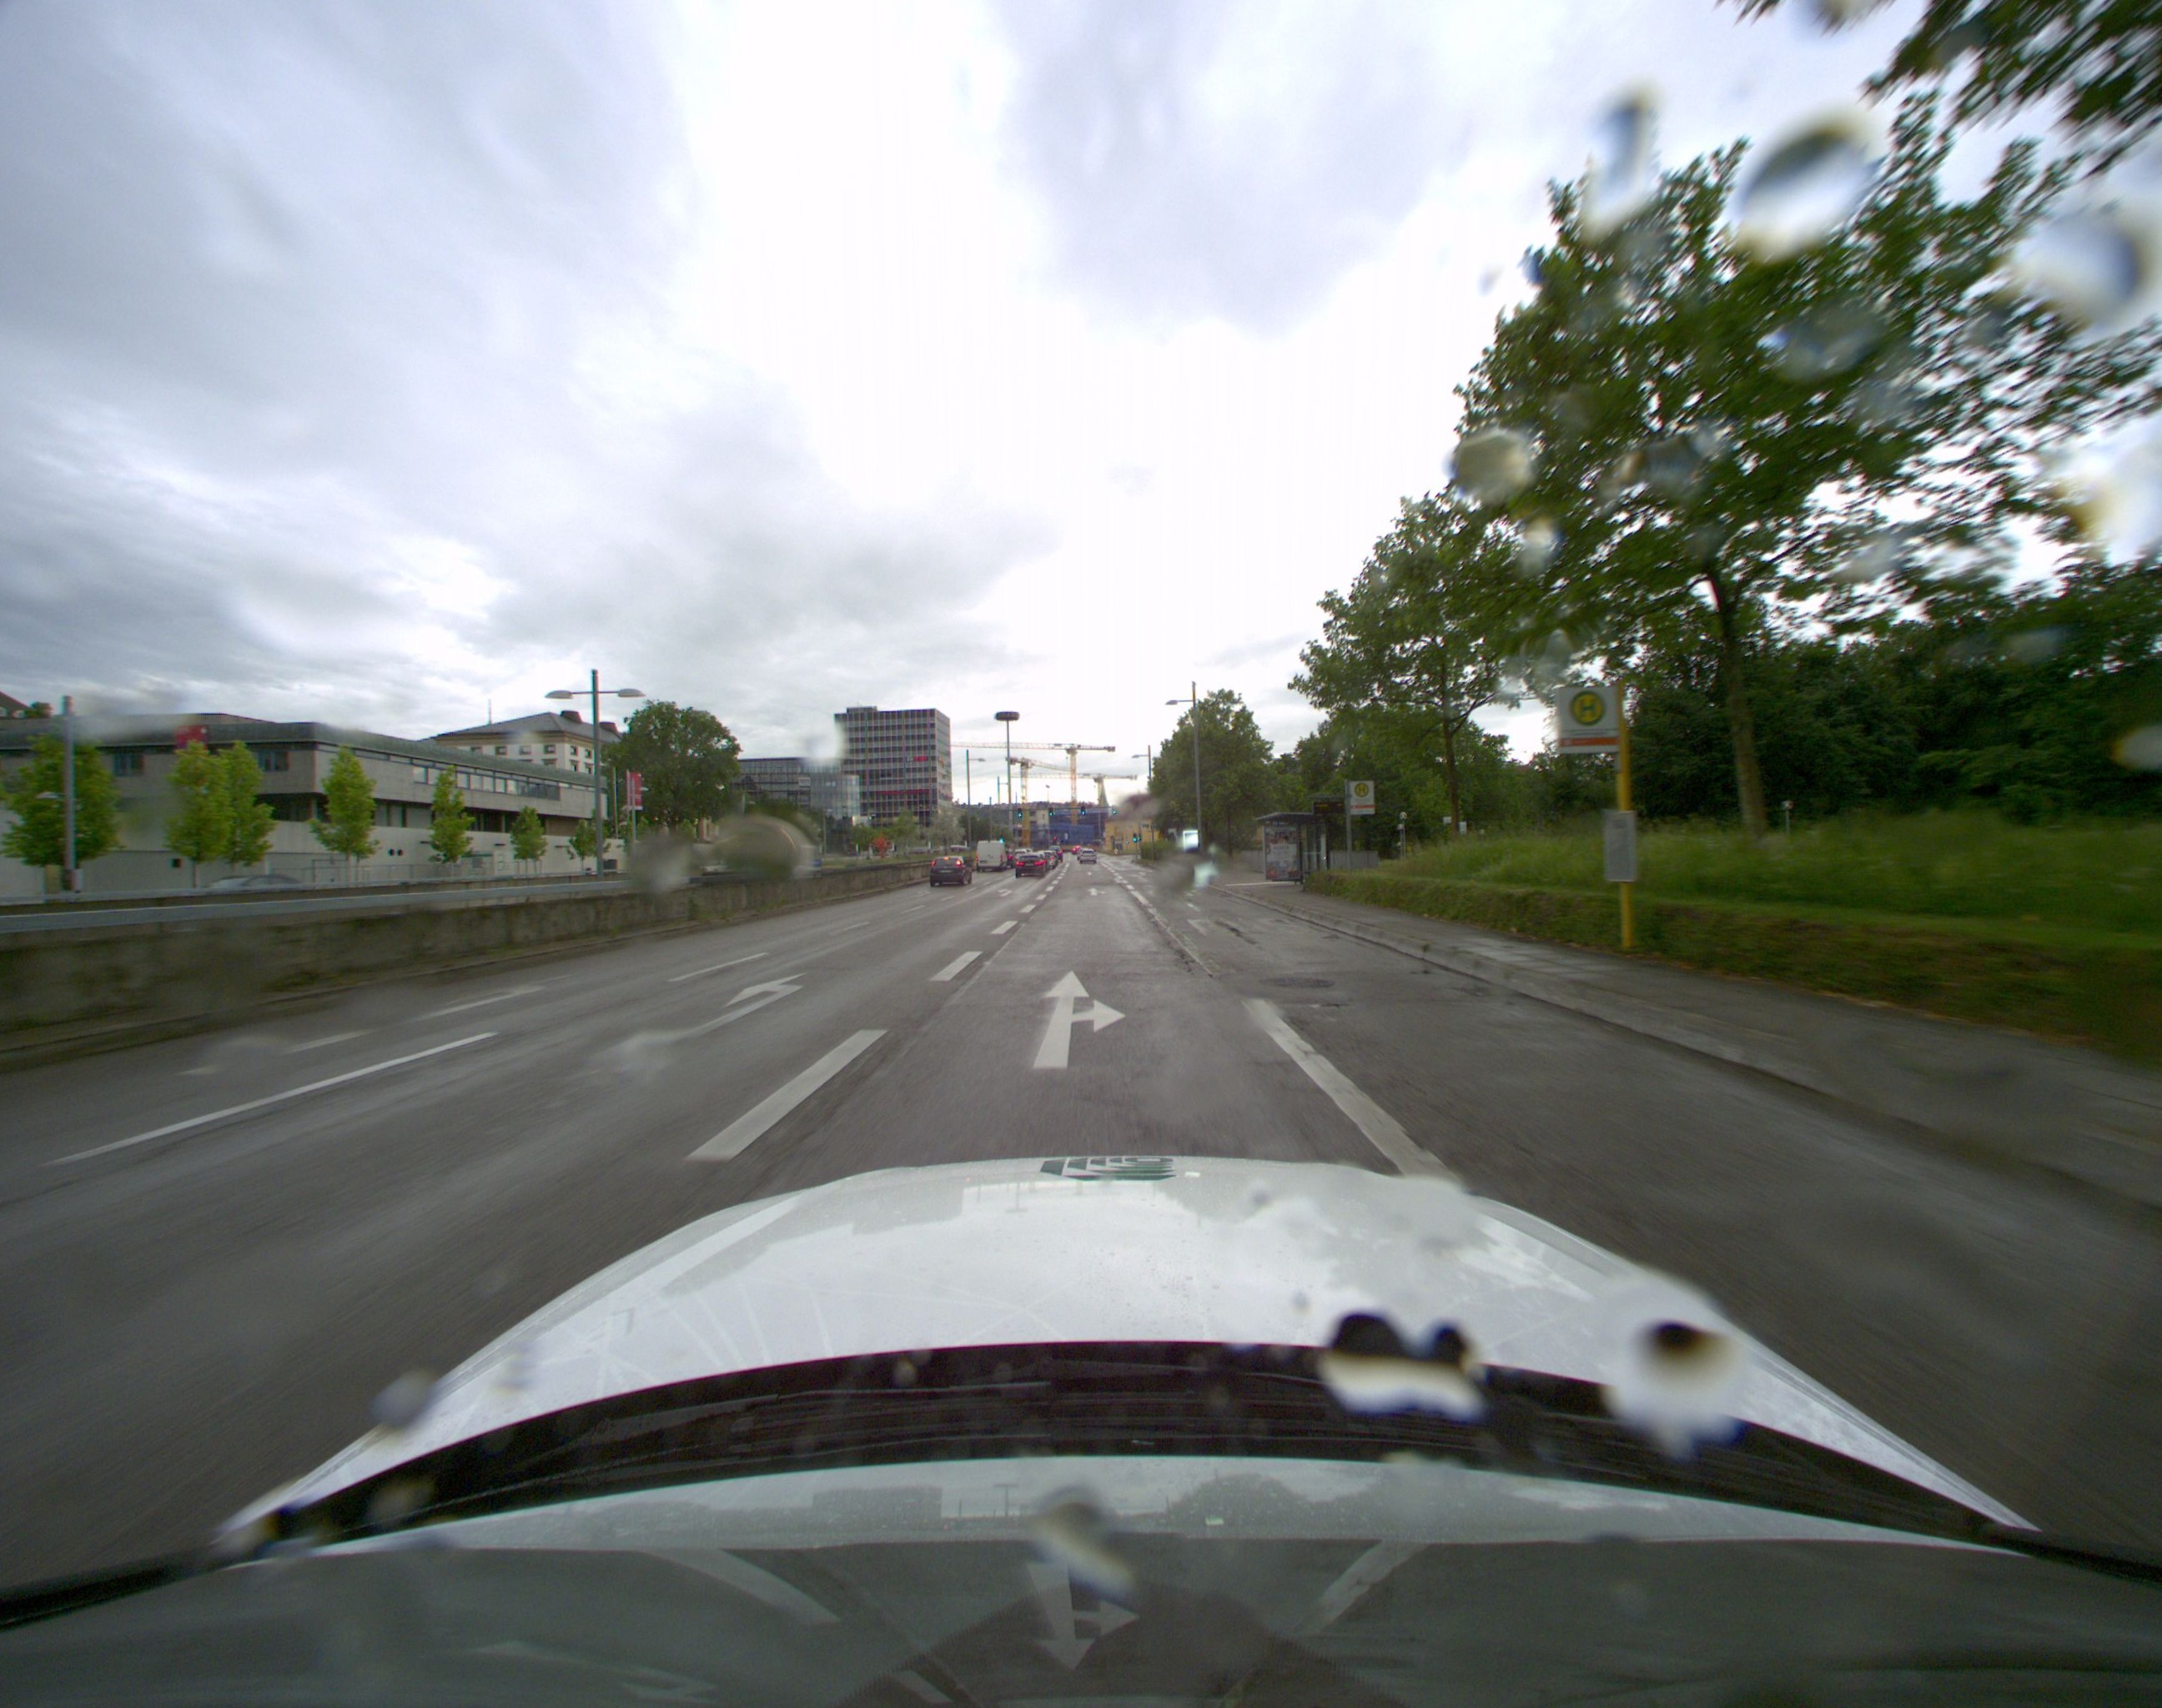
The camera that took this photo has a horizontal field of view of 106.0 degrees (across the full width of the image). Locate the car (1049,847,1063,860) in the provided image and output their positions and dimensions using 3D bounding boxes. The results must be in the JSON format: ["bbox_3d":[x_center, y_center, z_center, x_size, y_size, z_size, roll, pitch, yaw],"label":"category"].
[{"bbox_3d":[-2.762,-0.051,91.339,1.488,1.369,3.032,0,-1,0],"label":"car"}]

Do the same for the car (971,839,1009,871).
[{"bbox_3d":[-6.935,0.098,62.766,2.284,2.314,5.005,-1,-1,1],"label":"car"}]

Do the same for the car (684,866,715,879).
[{"bbox_3d":[-37.386,1.837,79.837,1.402,1.255,3.168,-1,-1,3],"label":"car"}]

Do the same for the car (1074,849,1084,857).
[{"bbox_3d":[-0.207,-0.122,99.114,1.072,0.990,1.973,-1,-2,3],"label":"car"}]

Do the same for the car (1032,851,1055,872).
[{"bbox_3d":[-3.129,0.639,68.019,1.876,1.653,3.454,0,-1,-3],"label":"car"}]

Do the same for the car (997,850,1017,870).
[{"bbox_3d":[-6.310,0.520,69.425,1.460,1.706,3.139,0,-1,-2],"label":"car"}]

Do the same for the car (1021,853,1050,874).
[{"bbox_3d":[-3.361,0.725,60.186,1.823,1.495,3.400,-1,-1,2],"label":"car"}]

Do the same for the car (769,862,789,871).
[{"bbox_3d":[-37.394,1.531,100.921,1.435,1.114,3.020,0,-1,0],"label":"car"}]

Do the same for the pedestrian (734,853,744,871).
[{"bbox_3d":[-40.338,0.976,96.016,0.764,2.090,0.726,-1,5,-1],"label":"pedestrian"}]

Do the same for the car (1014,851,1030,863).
[{"bbox_3d":[-6.312,0.365,87.625,1.546,1.260,2.580,0,-1,0],"label":"car"}]

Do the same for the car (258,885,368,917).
[{"bbox_3d":[-34.231,2.069,36.434,1.561,1.227,3.539,0,-1,-1],"label":"car"}]

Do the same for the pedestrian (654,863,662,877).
[{"bbox_3d":[-42.447,1.608,81.662,0.465,1.383,0.577,0,-1,0],"label":"pedestrian"}]

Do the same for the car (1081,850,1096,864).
[{"bbox_3d":[0.744,0.304,84.869,1.438,1.359,2.414,-1,-1,3],"label":"car"}]

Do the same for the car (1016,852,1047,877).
[{"bbox_3d":[-3.123,0.634,51.892,1.748,1.471,4.220,-1,1,-1],"label":"car"}]

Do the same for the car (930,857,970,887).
[{"bbox_3d":[-6.440,0.867,40.307,1.539,1.415,3.897,0,-1,-3],"label":"car"}]

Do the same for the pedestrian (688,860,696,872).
[{"bbox_3d":[-43.781,1.361,91.630,0.489,1.423,0.634,-1,-1,5],"label":"pedestrian"}]

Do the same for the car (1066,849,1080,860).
[{"bbox_3d":[-1.445,0.048,144.317,2.152,1.879,3.773,-1,-1,3],"label":"car"}]
